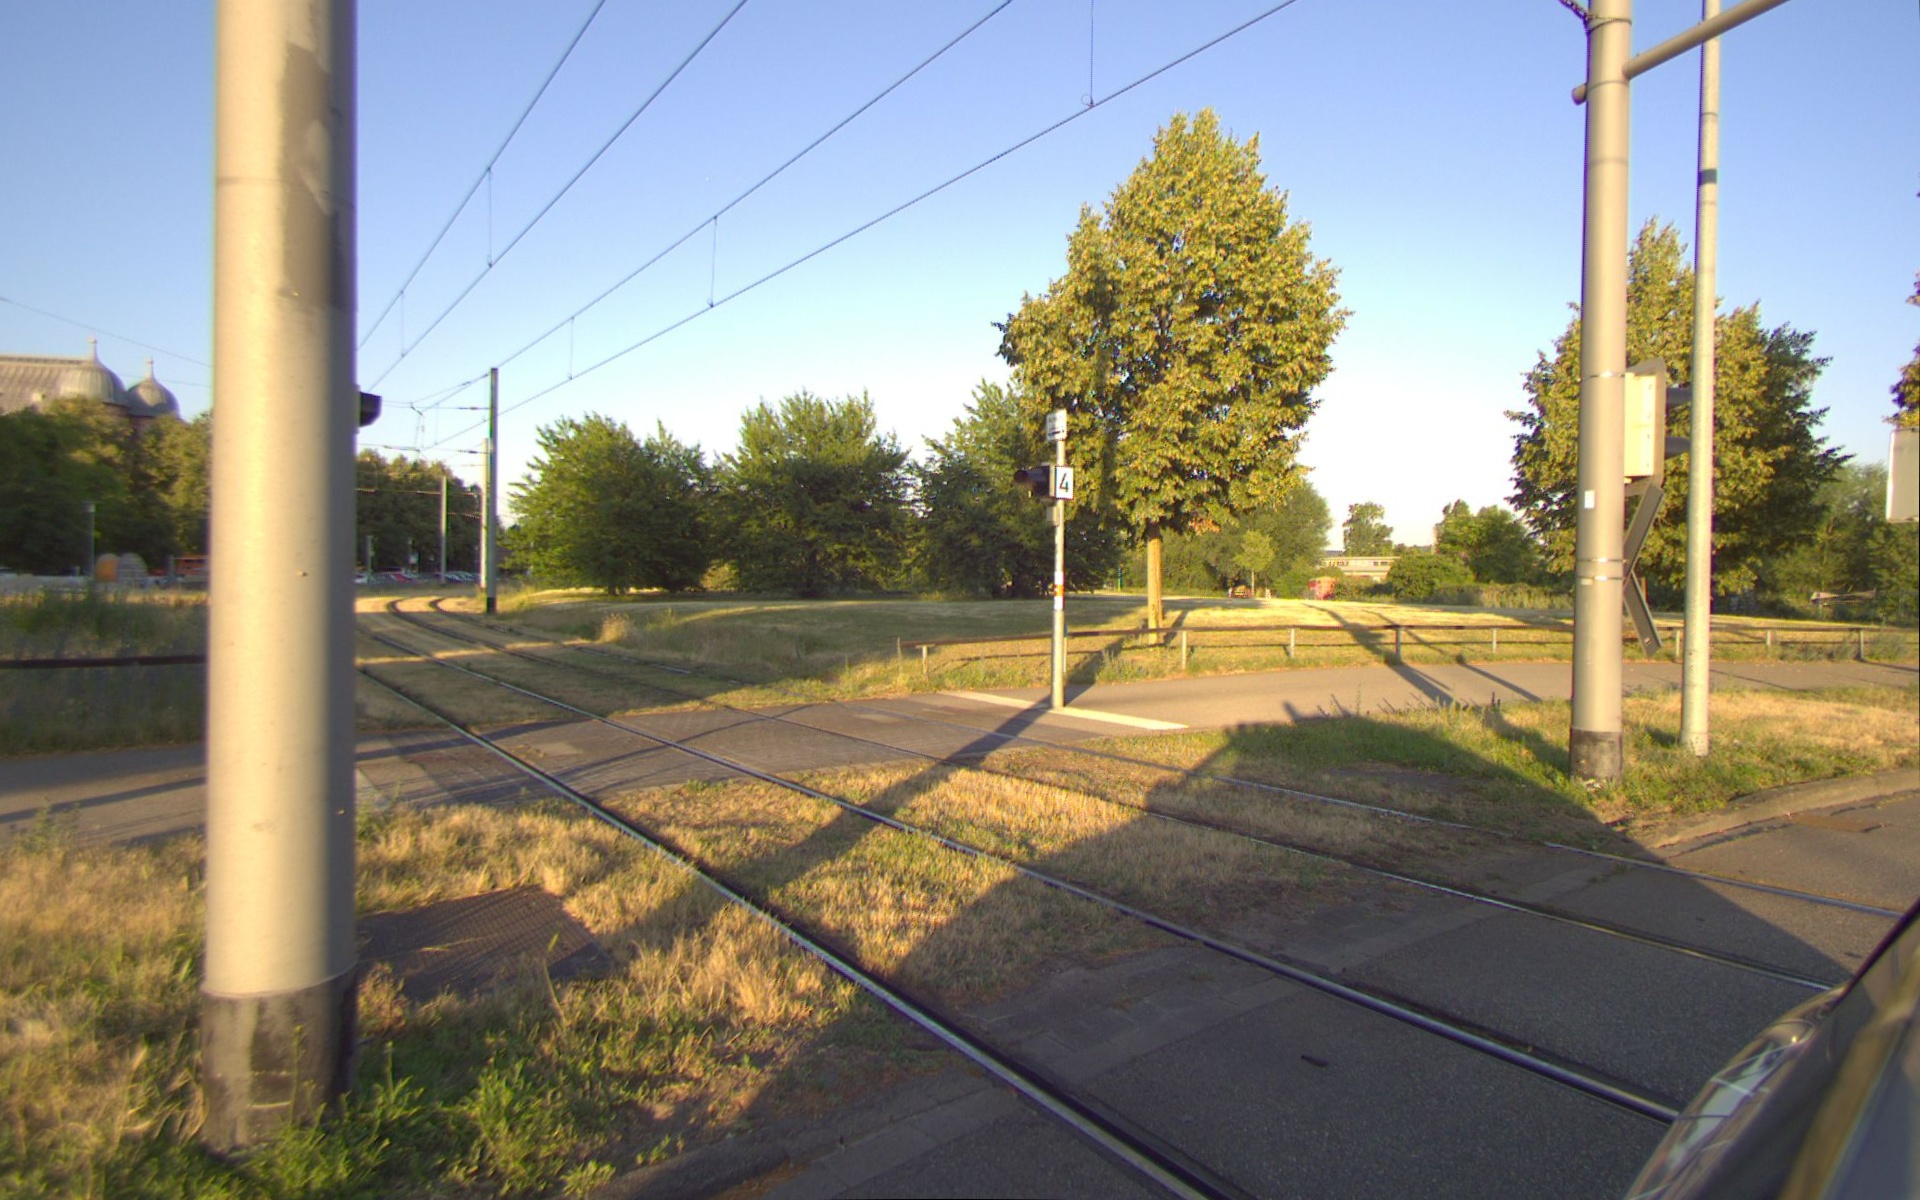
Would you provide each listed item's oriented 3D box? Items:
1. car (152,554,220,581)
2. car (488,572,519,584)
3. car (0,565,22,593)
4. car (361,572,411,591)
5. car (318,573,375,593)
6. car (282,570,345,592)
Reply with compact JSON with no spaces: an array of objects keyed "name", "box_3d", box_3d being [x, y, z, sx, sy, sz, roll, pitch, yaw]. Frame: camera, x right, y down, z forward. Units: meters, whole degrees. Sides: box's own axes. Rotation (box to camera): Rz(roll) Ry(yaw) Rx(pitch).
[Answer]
[{"name":"car","box_3d":[-62.307,-2.572,81.545,3.916,2.121,1.908,0,1,-16]},{"name":"car","box_3d":[-60.925,-2.924,135.076,3.535,1.501,1.714,1,0,-19]},{"name":"car","box_3d":[-56.122,-1.198,57.339,3.916,1.573,1.908,0,1,-16]},{"name":"car","box_3d":[-50.971,-1.638,89.944,3.535,1.501,1.714,1,0,-19]},{"name":"car","box_3d":[-48.766,-1.353,80.521,3.535,1.501,1.714,1,0,-19]},{"name":"car","box_3d":[-47.370,-1.345,74.204,3.535,1.501,1.714,1,0,-19]}]
